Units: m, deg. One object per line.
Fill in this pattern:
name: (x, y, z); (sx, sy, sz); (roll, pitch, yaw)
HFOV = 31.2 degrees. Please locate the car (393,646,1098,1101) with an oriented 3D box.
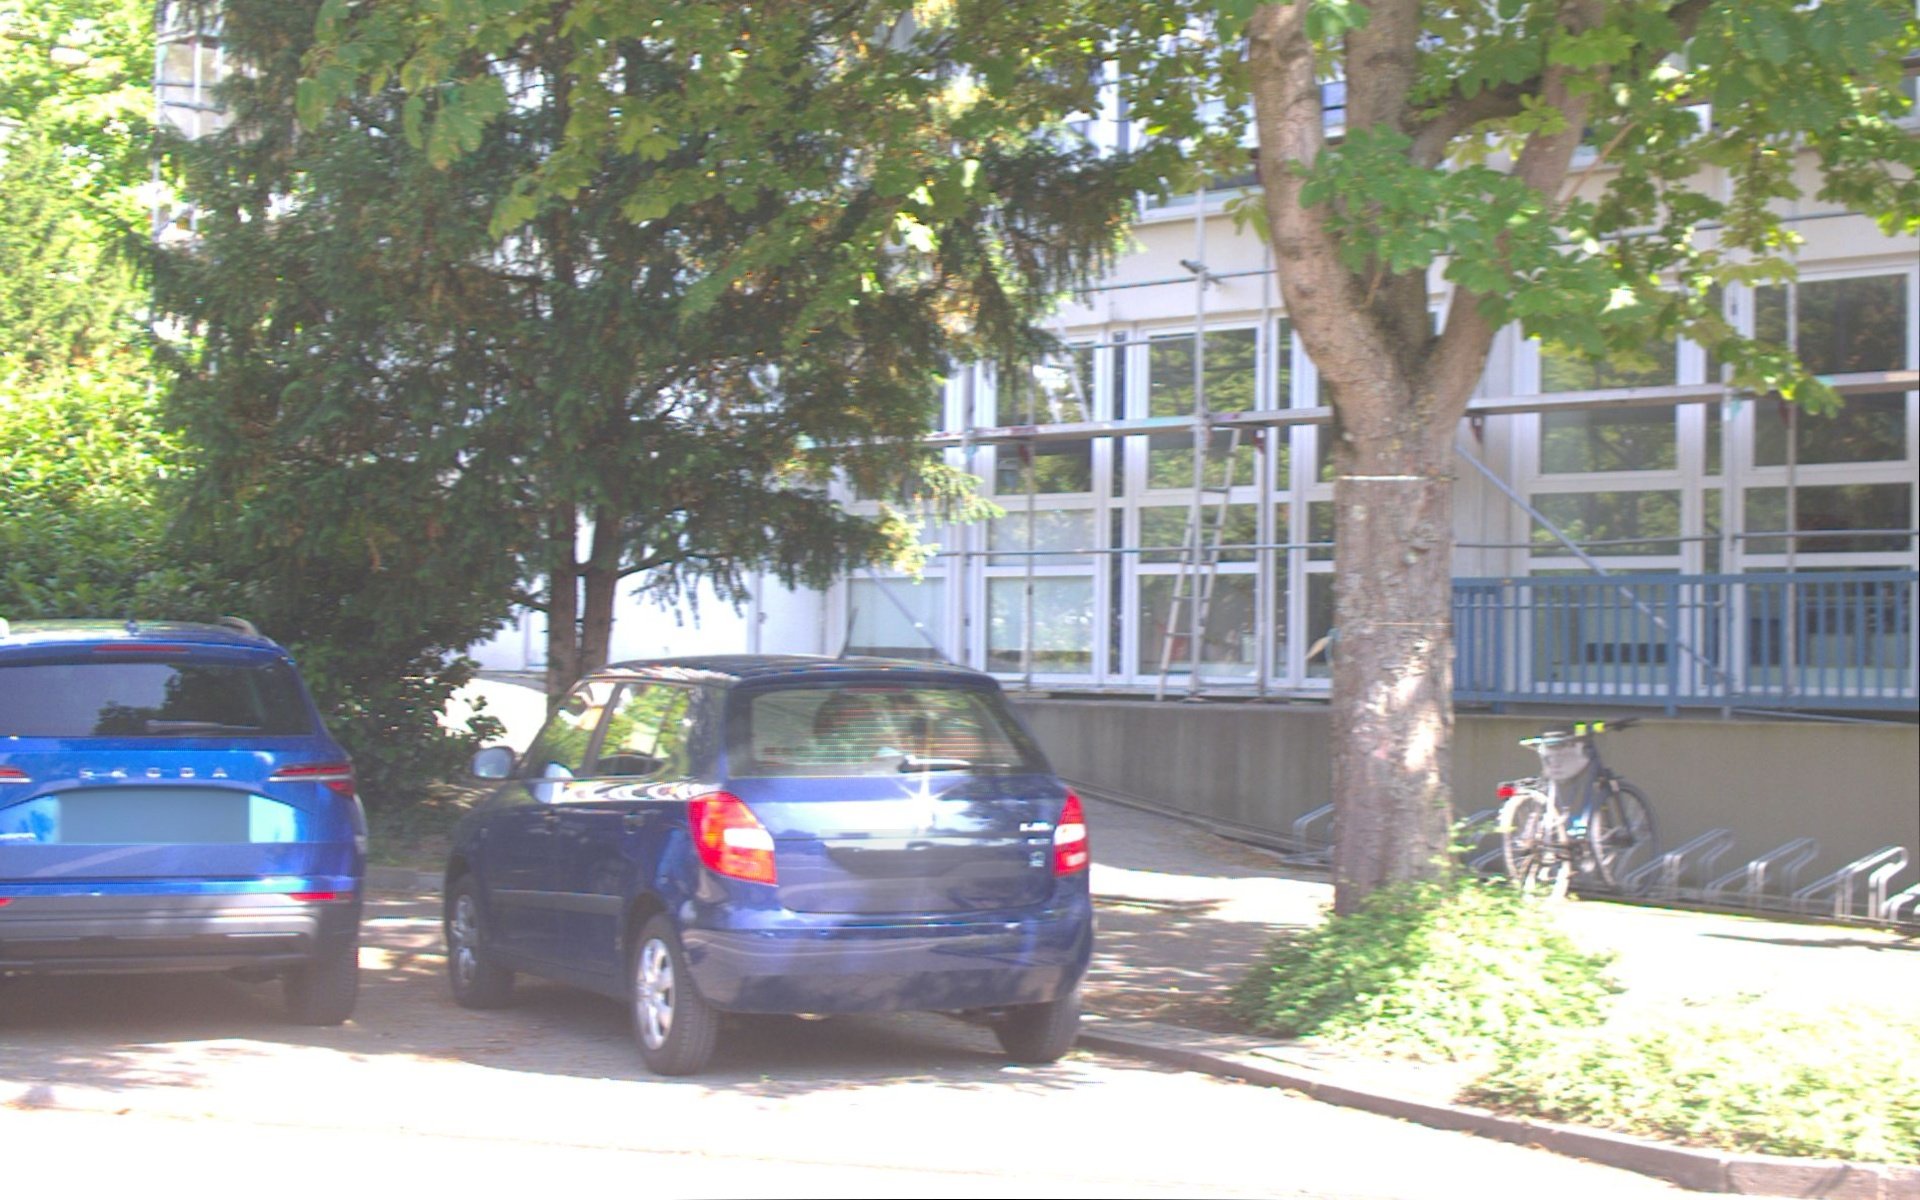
car: (-0.964, 0.964, 13.444); (1.571, 1.526, 3.459); (2, -2, -25)

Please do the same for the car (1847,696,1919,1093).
car: (5.167, 1.113, 11.621); (1.778, 1.481, 4.436); (2, -2, -25)

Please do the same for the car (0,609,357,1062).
car: (-3.811, 0.871, 14.555); (1.774, 1.617, 3.946); (1, 0, -20)

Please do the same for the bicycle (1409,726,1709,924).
bicycle: (3.551, 1.300, 20.214); (0.742, 1.082, 2.198); (0, -2, 39)

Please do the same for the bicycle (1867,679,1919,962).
bicycle: (5.781, 1.177, 18.375); (2.084, 1.449, 0.663); (3, -2, -38)
